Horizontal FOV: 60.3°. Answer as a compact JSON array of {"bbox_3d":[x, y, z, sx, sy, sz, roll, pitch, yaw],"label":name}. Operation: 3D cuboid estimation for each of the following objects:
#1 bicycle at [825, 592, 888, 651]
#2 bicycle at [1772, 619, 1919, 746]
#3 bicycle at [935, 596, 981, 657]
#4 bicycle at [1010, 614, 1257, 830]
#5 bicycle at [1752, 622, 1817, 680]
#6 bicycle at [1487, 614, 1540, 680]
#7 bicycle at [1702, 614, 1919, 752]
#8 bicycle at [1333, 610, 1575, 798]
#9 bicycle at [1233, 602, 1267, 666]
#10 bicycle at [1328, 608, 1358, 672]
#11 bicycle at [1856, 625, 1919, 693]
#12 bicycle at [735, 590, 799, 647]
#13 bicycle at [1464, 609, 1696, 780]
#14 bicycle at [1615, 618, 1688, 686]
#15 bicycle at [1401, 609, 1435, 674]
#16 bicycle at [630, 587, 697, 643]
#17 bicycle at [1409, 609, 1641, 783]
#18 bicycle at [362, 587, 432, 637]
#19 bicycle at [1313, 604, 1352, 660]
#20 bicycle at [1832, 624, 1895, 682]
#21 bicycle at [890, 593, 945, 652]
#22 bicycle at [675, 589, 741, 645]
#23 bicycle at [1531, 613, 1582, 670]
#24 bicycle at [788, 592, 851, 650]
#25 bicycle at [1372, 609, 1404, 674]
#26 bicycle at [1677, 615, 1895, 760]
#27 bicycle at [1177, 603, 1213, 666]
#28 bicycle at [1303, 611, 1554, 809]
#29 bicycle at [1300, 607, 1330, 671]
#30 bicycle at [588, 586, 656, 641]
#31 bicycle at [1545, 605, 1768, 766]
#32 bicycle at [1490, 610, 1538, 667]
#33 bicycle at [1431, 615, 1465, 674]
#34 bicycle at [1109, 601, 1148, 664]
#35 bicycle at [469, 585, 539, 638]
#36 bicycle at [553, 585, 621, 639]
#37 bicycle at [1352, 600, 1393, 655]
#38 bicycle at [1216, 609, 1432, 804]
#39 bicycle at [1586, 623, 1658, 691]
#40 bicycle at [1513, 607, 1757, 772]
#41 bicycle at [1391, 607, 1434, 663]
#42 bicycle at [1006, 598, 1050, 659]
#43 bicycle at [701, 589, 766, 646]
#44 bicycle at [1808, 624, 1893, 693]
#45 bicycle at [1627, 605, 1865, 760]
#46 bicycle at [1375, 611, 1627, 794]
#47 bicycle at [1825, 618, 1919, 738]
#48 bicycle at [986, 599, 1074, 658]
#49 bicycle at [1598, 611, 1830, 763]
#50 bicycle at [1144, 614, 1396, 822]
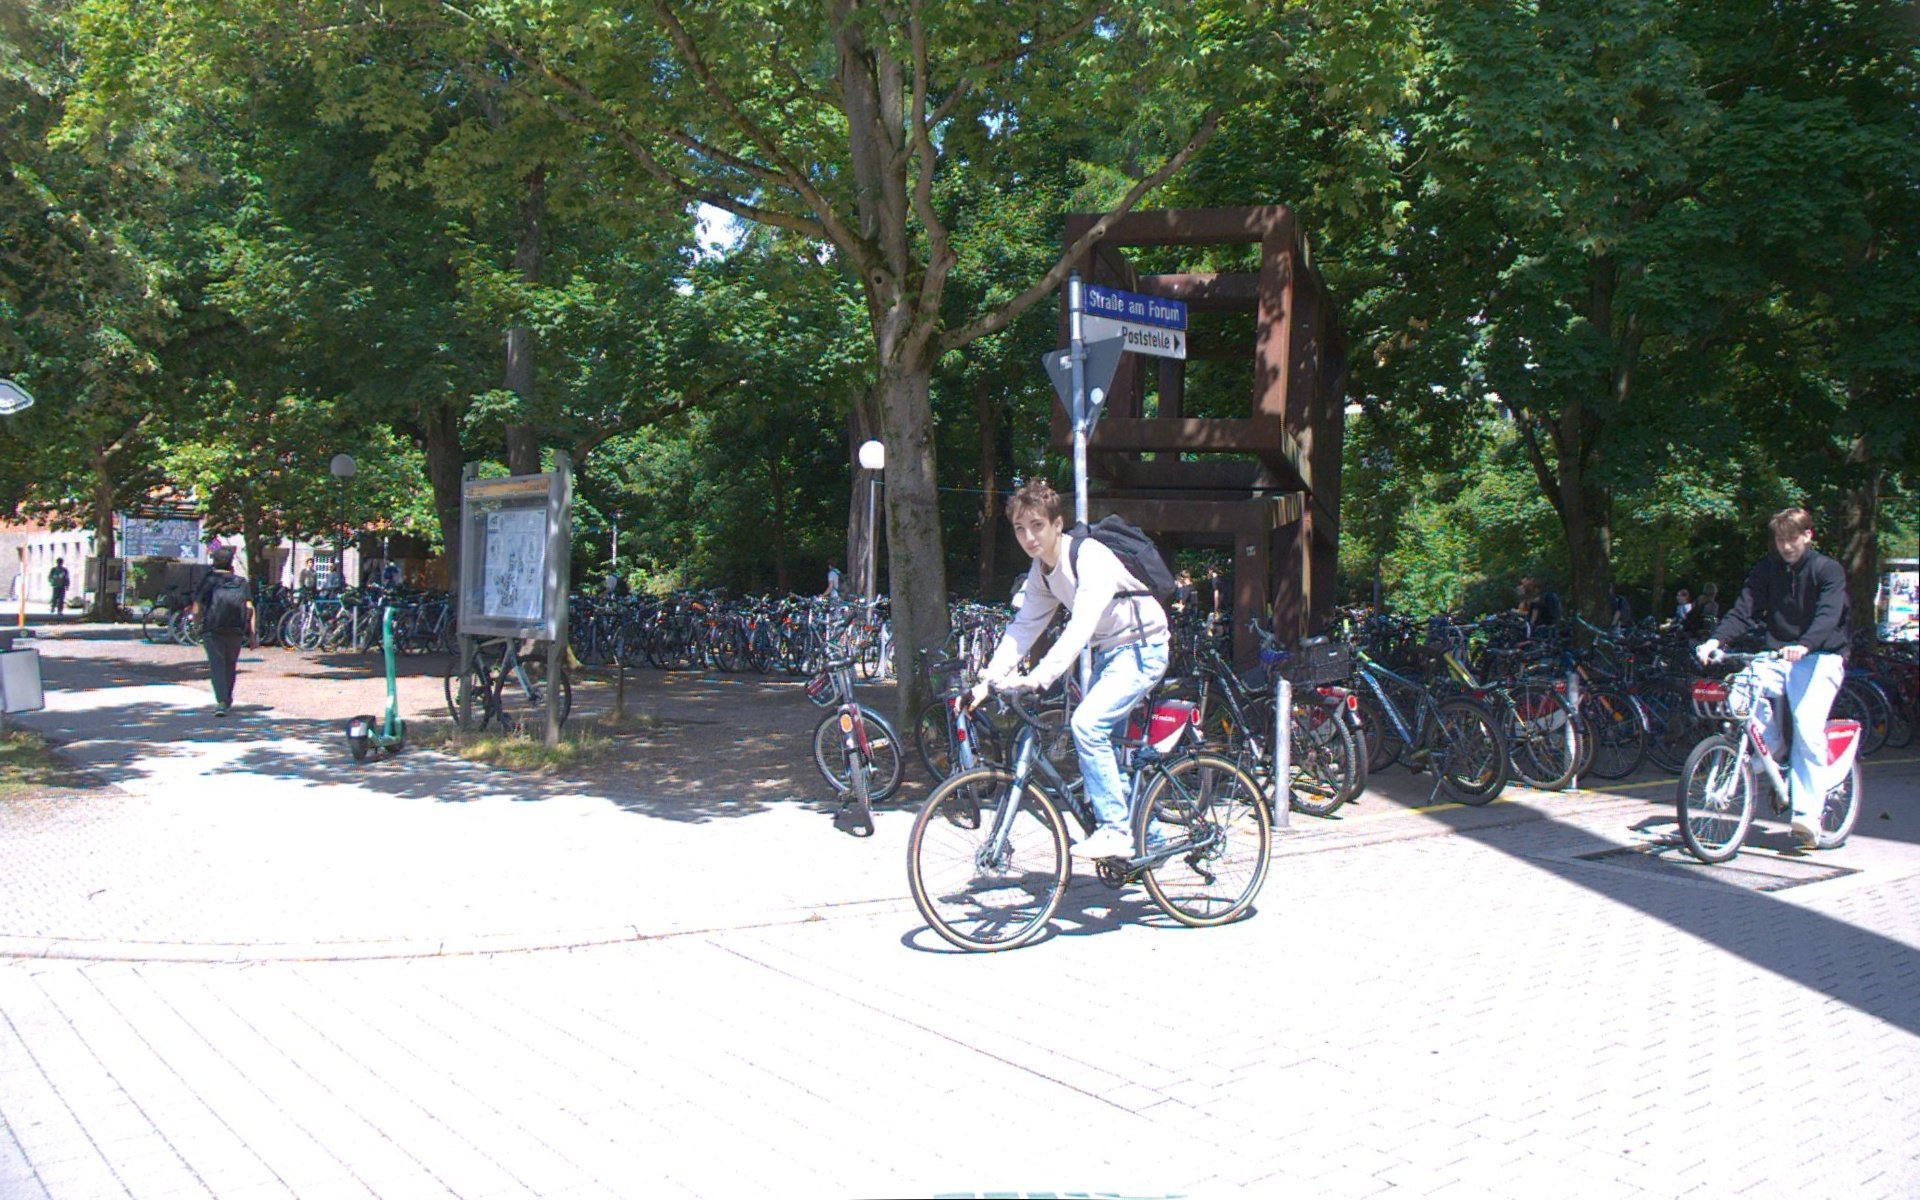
[{"bbox_3d":[-2.006,0.422,32.233,0.463,1.102,1.699,3,0,23],"label":"bicycle"},{"bbox_3d":[8.881,0.786,16.257,0.553,1.127,1.618,3,0,-23],"label":"bicycle"},{"bbox_3d":[-0.025,0.485,31.467,0.462,1.102,1.701,3,0,13],"label":"bicycle"},{"bbox_3d":[0.996,0.675,9.839,0.492,1.127,1.608,0,1,-37],"label":"bicycle"},{"bbox_3d":[17.467,1.061,35.065,0.463,1.129,1.778,3,0,1],"label":"bicycle"},{"bbox_3d":[9.793,0.817,29.319,0.462,1.102,1.701,3,0,5],"label":"bicycle"},{"bbox_3d":[7.810,0.735,15.207,0.708,1.127,1.712,3,0,-27],"label":"bicycle"},{"bbox_3d":[3.316,0.666,11.231,0.491,1.127,1.612,2,0,-32],"label":"bicycle"},{"bbox_3d":[5.294,0.602,30.138,0.462,1.102,1.701,3,0,13],"label":"bicycle"},{"bbox_3d":[6.898,0.705,29.795,0.462,1.102,1.701,3,0,13],"label":"bicycle"},{"bbox_3d":[16.303,1.023,28.794,0.463,1.102,1.700,3,0,1],"label":"bicycle"},{"bbox_3d":[-3.880,0.375,33.341,0.463,1.102,1.699,3,0,23],"label":"bicycle"},{"bbox_3d":[4.579,0.670,12.319,0.491,1.127,1.612,2,0,-32],"label":"bicycle"},{"bbox_3d":[12.105,0.894,28.986,0.463,1.102,1.699,3,0,-2],"label":"bicycle"},{"bbox_3d":[8.101,0.716,29.284,0.462,1.102,1.701,3,0,13],"label":"bicycle"},{"bbox_3d":[-6.084,0.310,34.008,0.463,1.102,1.699,3,0,23],"label":"bicycle"},{"bbox_3d":[4.088,0.663,12.072,0.499,1.127,1.612,2,0,-32],"label":"bicycle"},{"bbox_3d":[-12.838,0.271,37.761,0.463,1.102,1.699,3,0,23],"label":"bicycle"},{"bbox_3d":[7.992,0.672,35.540,0.505,1.129,1.779,3,0,4],"label":"bicycle"},{"bbox_3d":[18.897,1.095,34.636,0.462,1.129,1.779,3,0,6],"label":"bicycle"},{"bbox_3d":[-0.804,0.427,31.971,0.463,1.102,1.700,3,0,18],"label":"bicycle"},{"bbox_3d":[-5.144,0.343,33.865,0.463,1.102,1.699,3,0,23],"label":"bicycle"},{"bbox_3d":[12.584,0.867,34.909,0.505,1.129,1.779,3,0,4],"label":"bicycle"},{"bbox_3d":[-2.774,0.407,32.834,0.463,1.102,1.699,3,0,23],"label":"bicycle"},{"bbox_3d":[7.671,0.730,29.668,0.462,1.102,1.701,3,0,13],"label":"bicycle"},{"bbox_3d":[7.190,0.736,14.451,0.493,1.127,1.605,2,0,-42],"label":"bicycle"},{"bbox_3d":[4.323,0.625,30.394,0.462,1.102,1.701,3,0,13],"label":"bicycle"},{"bbox_3d":[2.995,0.670,10.720,0.491,1.127,1.612,2,0,-32],"label":"bicycle"},{"bbox_3d":[6.419,0.680,29.875,0.462,1.102,1.701,3,0,13],"label":"bicycle"},{"bbox_3d":[-7.036,0.283,34.473,0.463,1.102,1.699,3,0,23],"label":"bicycle"},{"bbox_3d":[5.617,0.661,13.418,0.492,1.170,1.608,2,0,-37],"label":"bicycle"},{"bbox_3d":[11.711,0.801,34.994,0.505,1.129,1.779,3,0,4],"label":"bicycle"},{"bbox_3d":[8.597,0.771,29.172,0.441,0.978,1.741,3,0,13],"label":"bicycle"},{"bbox_3d":[3.133,0.590,30.660,0.462,1.102,1.701,3,0,13],"label":"bicycle"},{"bbox_3d":[-9.874,0.261,35.887,0.463,1.102,1.699,3,0,23],"label":"bicycle"},{"bbox_3d":[-7.884,0.263,35.058,0.463,1.102,1.699,3,0,23],"label":"bicycle"},{"bbox_3d":[8.850,0.578,35.537,0.505,1.129,1.779,3,0,4],"label":"bicycle"},{"bbox_3d":[2.340,0.647,10.806,0.489,1.127,1.617,0,1,-25],"label":"bicycle"},{"bbox_3d":[11.576,0.976,28.975,0.463,1.102,1.699,3,0,-2],"label":"bicycle"},{"bbox_3d":[5.162,0.658,12.733,0.682,1.127,1.612,2,0,-32],"label":"bicycle"},{"bbox_3d":[9.733,0.744,35.610,0.505,1.129,1.779,3,0,4],"label":"bicycle"},{"bbox_3d":[1.299,0.535,31.306,0.462,1.102,1.701,3,0,13],"label":"bicycle"},{"bbox_3d":[-4.581,0.352,33.523,0.463,1.102,1.699,3,0,23],"label":"bicycle"},{"bbox_3d":[15.373,0.999,28.592,0.463,1.102,1.699,3,0,-2],"label":"bicycle"},{"bbox_3d":[6.733,0.680,14.244,0.493,1.182,1.758,2,0,-42],"label":"bicycle"},{"bbox_3d":[3.750,0.678,11.581,0.621,1.127,1.611,2,0,-33],"label":"bicycle"},{"bbox_3d":[9.460,0.778,16.371,0.489,1.127,1.618,3,0,-23],"label":"bicycle"},{"bbox_3d":[1.415,0.565,33.424,1.664,1.102,0.602,3,0,32],"label":"bicycle"},{"bbox_3d":[6.271,0.694,13.813,0.639,1.127,1.605,2,0,-42],"label":"bicycle"},{"bbox_3d":[1.867,0.673,10.155,0.492,1.127,1.608,0,1,-37],"label":"bicycle"}]
